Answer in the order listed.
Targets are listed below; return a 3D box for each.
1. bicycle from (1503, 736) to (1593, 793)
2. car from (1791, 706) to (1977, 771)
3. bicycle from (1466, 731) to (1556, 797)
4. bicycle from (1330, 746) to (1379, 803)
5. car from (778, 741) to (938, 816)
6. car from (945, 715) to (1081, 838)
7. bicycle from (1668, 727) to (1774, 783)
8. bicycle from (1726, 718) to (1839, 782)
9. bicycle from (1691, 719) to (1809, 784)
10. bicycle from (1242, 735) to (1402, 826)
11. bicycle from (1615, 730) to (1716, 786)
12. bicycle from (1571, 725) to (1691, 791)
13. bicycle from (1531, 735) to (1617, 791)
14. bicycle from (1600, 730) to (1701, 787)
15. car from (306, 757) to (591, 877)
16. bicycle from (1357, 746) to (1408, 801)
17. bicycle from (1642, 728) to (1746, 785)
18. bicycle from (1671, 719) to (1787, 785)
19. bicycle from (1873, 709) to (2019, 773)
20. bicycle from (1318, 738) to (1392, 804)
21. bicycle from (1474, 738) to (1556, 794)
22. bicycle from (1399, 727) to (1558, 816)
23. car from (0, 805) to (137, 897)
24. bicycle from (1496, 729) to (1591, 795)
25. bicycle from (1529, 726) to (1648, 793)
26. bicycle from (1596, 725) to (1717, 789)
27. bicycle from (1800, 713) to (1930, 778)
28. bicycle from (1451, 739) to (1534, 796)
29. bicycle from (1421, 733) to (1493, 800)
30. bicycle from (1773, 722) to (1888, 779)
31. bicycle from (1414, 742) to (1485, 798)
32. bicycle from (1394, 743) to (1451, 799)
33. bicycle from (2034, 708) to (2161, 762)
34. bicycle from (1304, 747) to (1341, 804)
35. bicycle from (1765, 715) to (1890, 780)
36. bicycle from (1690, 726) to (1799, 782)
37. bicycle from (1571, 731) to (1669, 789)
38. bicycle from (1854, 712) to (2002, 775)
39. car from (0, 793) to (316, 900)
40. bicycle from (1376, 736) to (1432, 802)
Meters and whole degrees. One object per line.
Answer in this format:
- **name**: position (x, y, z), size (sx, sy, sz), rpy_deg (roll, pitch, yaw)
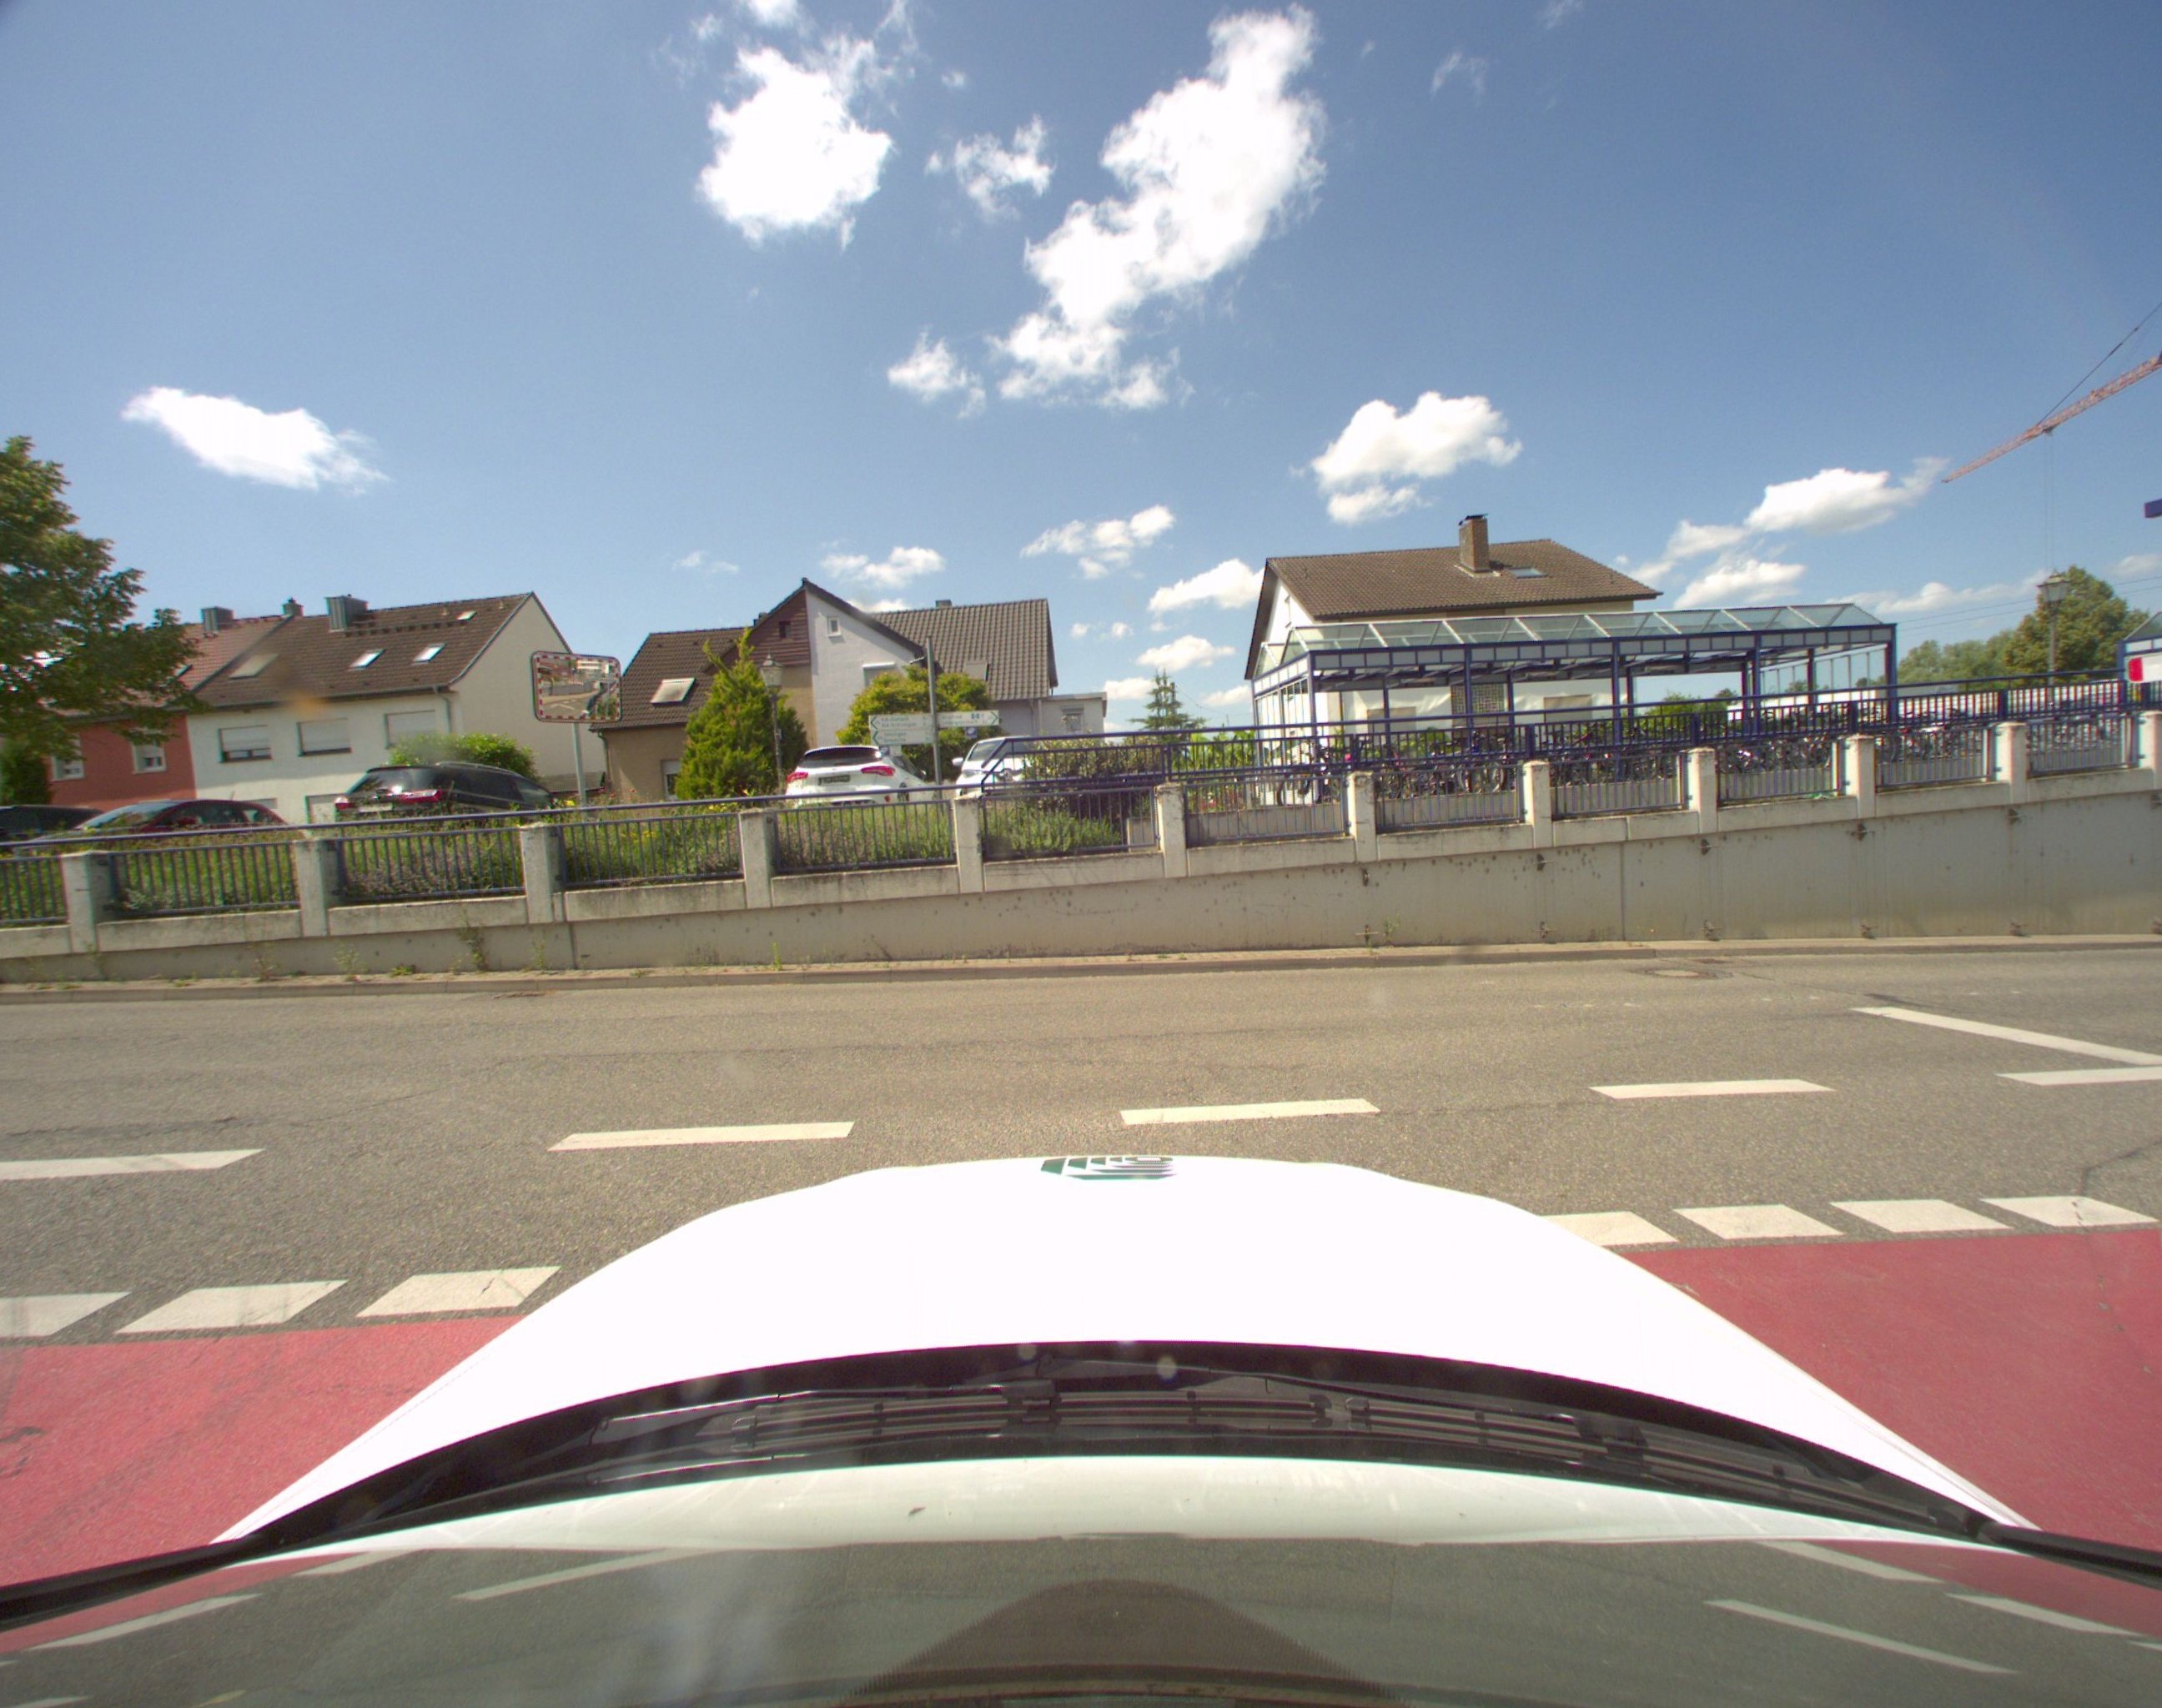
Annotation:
- **bicycle**: position (9.423, -1.790, 16.537), size (0.518, 0.994, 1.962), rpy_deg (-3, 3, -6)
- **car**: position (26.446, -3.775, 27.026), size (1.994, 1.677, 3.987), rpy_deg (-4, 3, -10)
- **bicycle**: position (7.471, -1.531, 14.271), size (0.434, 0.994, 2.283), rpy_deg (-3, 3, 2)
- **bicycle**: position (5.305, -1.521, 15.885), size (0.371, 0.994, 1.968), rpy_deg (-3, 3, 3)
- **car**: position (-3.657, -1.215, 14.000), size (1.819, 1.019, 3.458), rpy_deg (0, 1, -1)
- **car**: position (-1.013, -1.181, 14.085), size (1.987, 1.797, 4.196), rpy_deg (0, 1, -1)
- **bicycle**: position (13.307, -2.035, 17.013), size (0.518, 0.994, 1.962), rpy_deg (-3, 3, -6)
- **bicycle**: position (12.863, -1.876, 15.012), size (0.513, 0.994, 2.043), rpy_deg (-3, 3, 7)
- **bicycle**: position (12.171, -1.831, 14.899), size (0.513, 0.994, 2.040), rpy_deg (-3, 3, 2)
- **bicycle**: position (3.286, -1.003, 11.100), size (2.113, 1.125, 0.332), rpy_deg (-4, 3, -8)
- **bicycle**: position (12.109, -1.964, 16.953), size (0.518, 0.994, 1.962), rpy_deg (-3, 3, -6)
- **bicycle**: position (9.771, -1.678, 14.582), size (0.531, 0.994, 2.185), rpy_deg (-3, 3, -4)
- **bicycle**: position (10.079, -1.837, 16.734), size (0.518, 0.994, 1.798), rpy_deg (-3, 3, -6)
- **bicycle**: position (11.576, -1.917, 16.633), size (0.518, 0.994, 1.962), rpy_deg (-3, 3, -6)
- **car**: position (-10.733, -0.590, 14.279), size (1.861, 1.797, 3.999), rpy_deg (0, 1, -1)
- **bicycle**: position (6.026, -1.586, 16.353), size (0.371, 0.994, 1.968), rpy_deg (-3, 3, 3)
- **bicycle**: position (12.720, -2.000, 16.978), size (0.518, 0.994, 1.962), rpy_deg (-3, 3, -6)
- **bicycle**: position (11.448, -1.769, 14.489), size (0.575, 0.994, 2.193), rpy_deg (-3, 3, 8)
- **bicycle**: position (16.317, -2.095, 15.439), size (0.542, 0.994, 2.037), rpy_deg (-3, 3, -2)
- **bicycle**: position (4.673, -1.393, 14.032), size (0.331, 0.994, 2.071), rpy_deg (-3, 3, -7)
- **bicycle**: position (8.715, -1.744, 16.430), size (0.413, 0.994, 1.962), rpy_deg (-3, 3, -6)
- **bicycle**: position (5.568, -1.148, 11.404), size (2.113, 1.125, 0.391), rpy_deg (-4, 3, -8)
- **car**: position (-19.493, -0.055, 14.183), size (1.861, 1.586, 3.609), rpy_deg (0, 1, -1)
- **bicycle**: position (8.051, -1.566, 14.303), size (0.434, 0.994, 2.283), rpy_deg (-3, 3, 2)
- **bicycle**: position (8.820, -1.609, 14.286), size (0.531, 0.994, 2.279), rpy_deg (-3, 3, -4)
- **bicycle**: position (10.436, -1.731, 14.880), size (0.531, 0.994, 2.185), rpy_deg (-3, 3, -4)
- **bicycle**: position (14.418, -1.968, 15.059), size (0.541, 0.994, 2.041), rpy_deg (-3, 3, 4)
- **bicycle**: position (8.241, -1.715, 16.393), size (0.473, 0.994, 1.962), rpy_deg (-3, 3, -6)
- **bicycle**: position (6.382, -1.452, 13.925), size (0.433, 0.994, 2.106), rpy_deg (-3, 3, 6)
- **bicycle**: position (15.702, -2.145, 17.139), size (0.542, 0.994, 2.039), rpy_deg (-3, 3, 0)
- **bicycle**: position (7.389, -1.668, 16.440), size (0.425, 0.994, 1.964), rpy_deg (-3, 3, -3)
- **bicycle**: position (6.766, -1.622, 16.227), size (0.371, 0.994, 1.968), rpy_deg (-3, 3, 3)
- **bicycle**: position (23.033, -2.661, 18.377), size (0.510, 0.994, 2.020), rpy_deg (-4, 3, -9)
- **bicycle**: position (4.628, -1.472, 15.681), size (0.452, 0.994, 1.894), rpy_deg (-3, 3, 11)
- **bicycle**: position (13.610, -1.915, 14.931), size (0.513, 0.994, 2.041), rpy_deg (-3, 3, 4)
- **bicycle**: position (13.853, -2.070, 17.074), size (0.518, 0.994, 1.962), rpy_deg (-3, 3, -6)
- **bicycle**: position (10.854, -1.868, 16.477), size (0.518, 0.994, 1.962), rpy_deg (-3, 3, -6)
- **bicycle**: position (16.201, -2.090, 15.667), size (0.436, 0.994, 2.157), rpy_deg (-3, 3, -7)
- **car**: position (-15.701, -0.129, 13.909), size (1.861, 1.586, 3.609), rpy_deg (0, 1, -1)
- **bicycle**: position (5.377, -1.381, 13.658), size (0.433, 0.994, 2.109), rpy_deg (-3, 3, 10)
